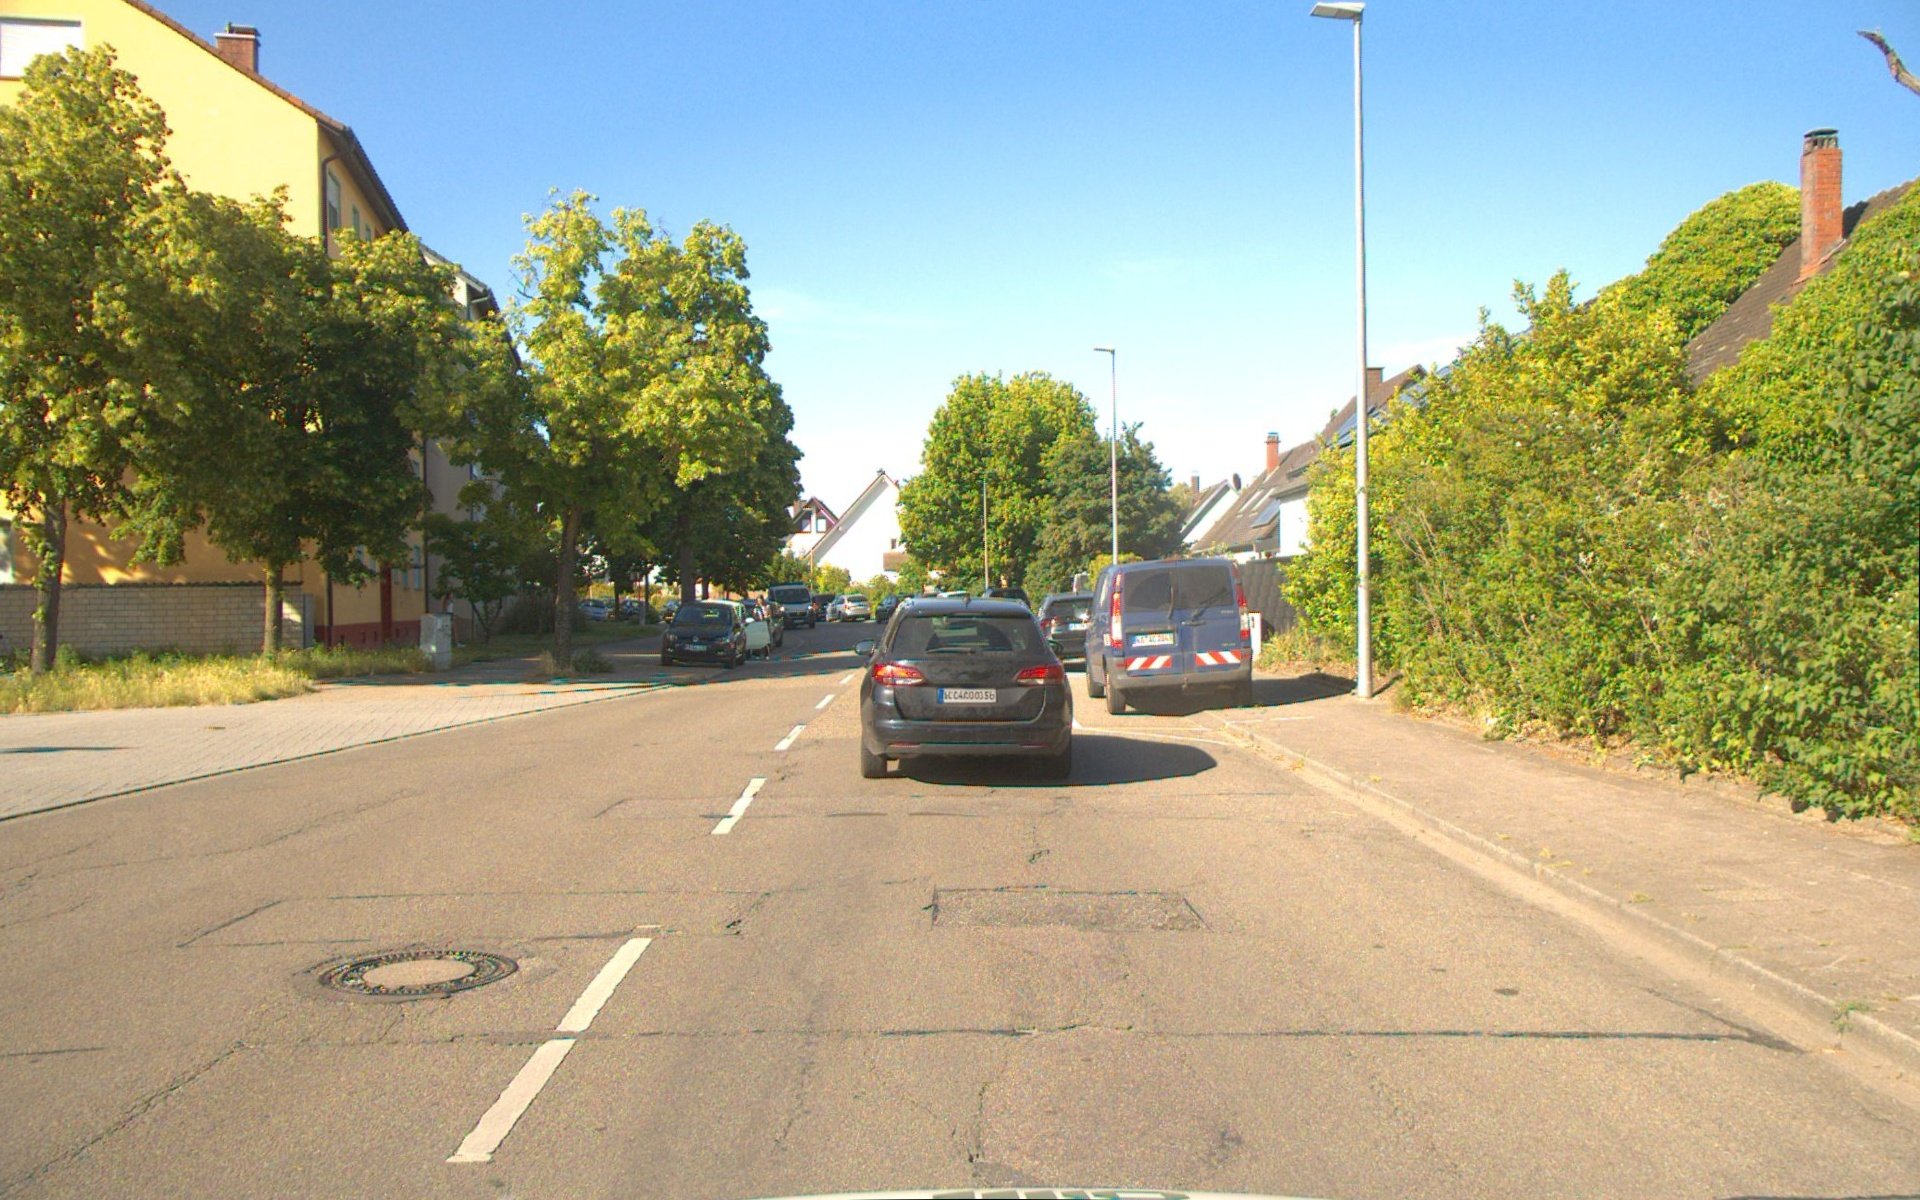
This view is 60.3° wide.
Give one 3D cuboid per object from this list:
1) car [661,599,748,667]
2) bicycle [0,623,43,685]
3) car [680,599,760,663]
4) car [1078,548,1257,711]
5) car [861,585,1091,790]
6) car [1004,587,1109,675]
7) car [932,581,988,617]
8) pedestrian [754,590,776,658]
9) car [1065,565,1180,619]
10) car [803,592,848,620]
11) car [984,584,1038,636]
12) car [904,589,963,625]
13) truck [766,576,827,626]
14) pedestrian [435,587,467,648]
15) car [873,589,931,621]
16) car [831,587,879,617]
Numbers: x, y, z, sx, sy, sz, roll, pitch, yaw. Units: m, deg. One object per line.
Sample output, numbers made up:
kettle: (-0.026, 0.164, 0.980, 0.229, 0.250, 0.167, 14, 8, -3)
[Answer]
car: (-5.962, 0.780, 38.951, 1.667, 1.506, 4.048, 0, -1, -4)
bicycle: (-16.809, 0.955, 28.626, 1.602, 1.028, 0.402, -2, 0, -33)
car: (-6.414, 0.840, 44.503, 1.667, 1.549, 4.049, -4, -1, -3)
car: (2.722, 0.345, 22.709, 1.799, 1.941, 4.697, -2, 0, 0)
car: (0.091, 0.673, 14.736, 1.726, 1.517, 4.290, -1, 0, -1)
car: (1.869, 0.567, 33.446, 1.730, 1.505, 4.991, -4, 1, 0)
car: (-0.039, -0.032, 76.072, 1.729, 1.506, 4.282, -3, 0, -11)
pedestrian: (-5.313, 0.657, 45.068, 0.494, 1.792, 0.694, -3, -2, -4)
car: (6.887, -0.348, 70.322, 4.586, 2.018, 2.142, -3, 0, -1)
car: (-8.168, 0.388, 100.063, 1.792, 1.561, 4.238, -3, 0, -17)
car: (1.830, 0.363, 60.359, 1.742, 1.754, 4.293, -3, 0, -1)
car: (-1.308, 0.372, 80.580, 1.880, 1.628, 4.277, -3, 0, -14)
truck: (-8.357, 0.018, 85.110, 2.085, 2.375, 6.444, -3, 0, 2)
pedestrian: (-15.024, 0.511, 48.838, 0.671, 1.748, 0.720, -3, -2, -1)
car: (-3.052, 0.282, 86.074, 1.974, 1.501, 4.274, -3, 0, -17)
car: (-6.049, 0.137, 94.936, 1.792, 1.561, 4.238, -3, 0, -17)
